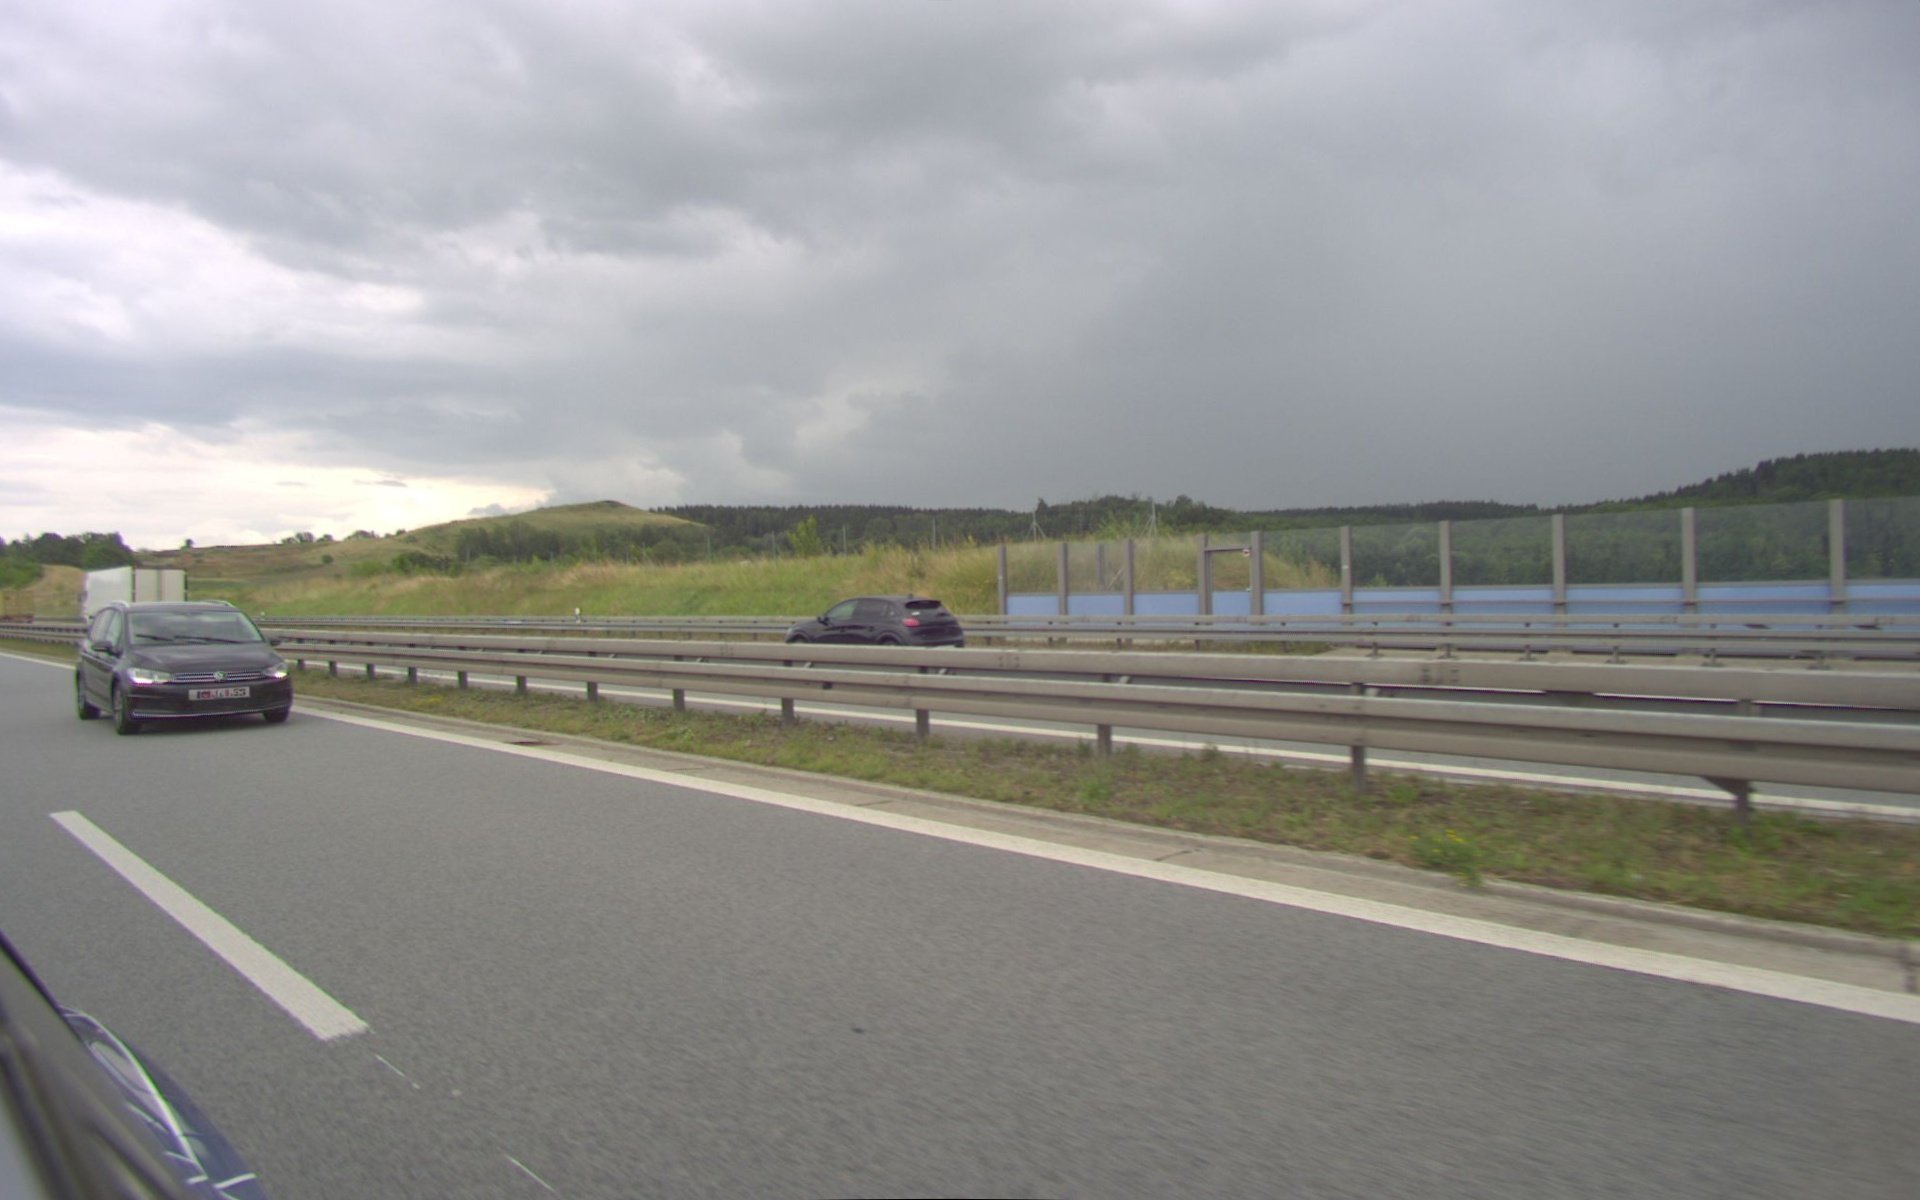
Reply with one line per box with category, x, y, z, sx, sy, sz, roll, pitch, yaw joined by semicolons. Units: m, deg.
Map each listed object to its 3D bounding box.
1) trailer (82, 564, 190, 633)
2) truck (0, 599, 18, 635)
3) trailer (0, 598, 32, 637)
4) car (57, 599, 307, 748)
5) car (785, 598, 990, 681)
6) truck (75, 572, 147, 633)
trailer;-52.078;0.054;63.724;14.267;3.955;2.887;-1;0;41
truck;-108.315;1.913;114.071;5.585;3.955;2.565;-2;0;41
trailer;-103.320;1.918;109.688;13.695;3.955;2.563;-1;0;41
car;-10.960;0.878;14.071;5.396;1.683;1.876;-1;0;43
car;-1.477;0.722;19.568;3.998;1.420;1.614;-1;0;41
truck;-57.515;0.192;68.530;5.515;3.955;2.921;-2;0;41
